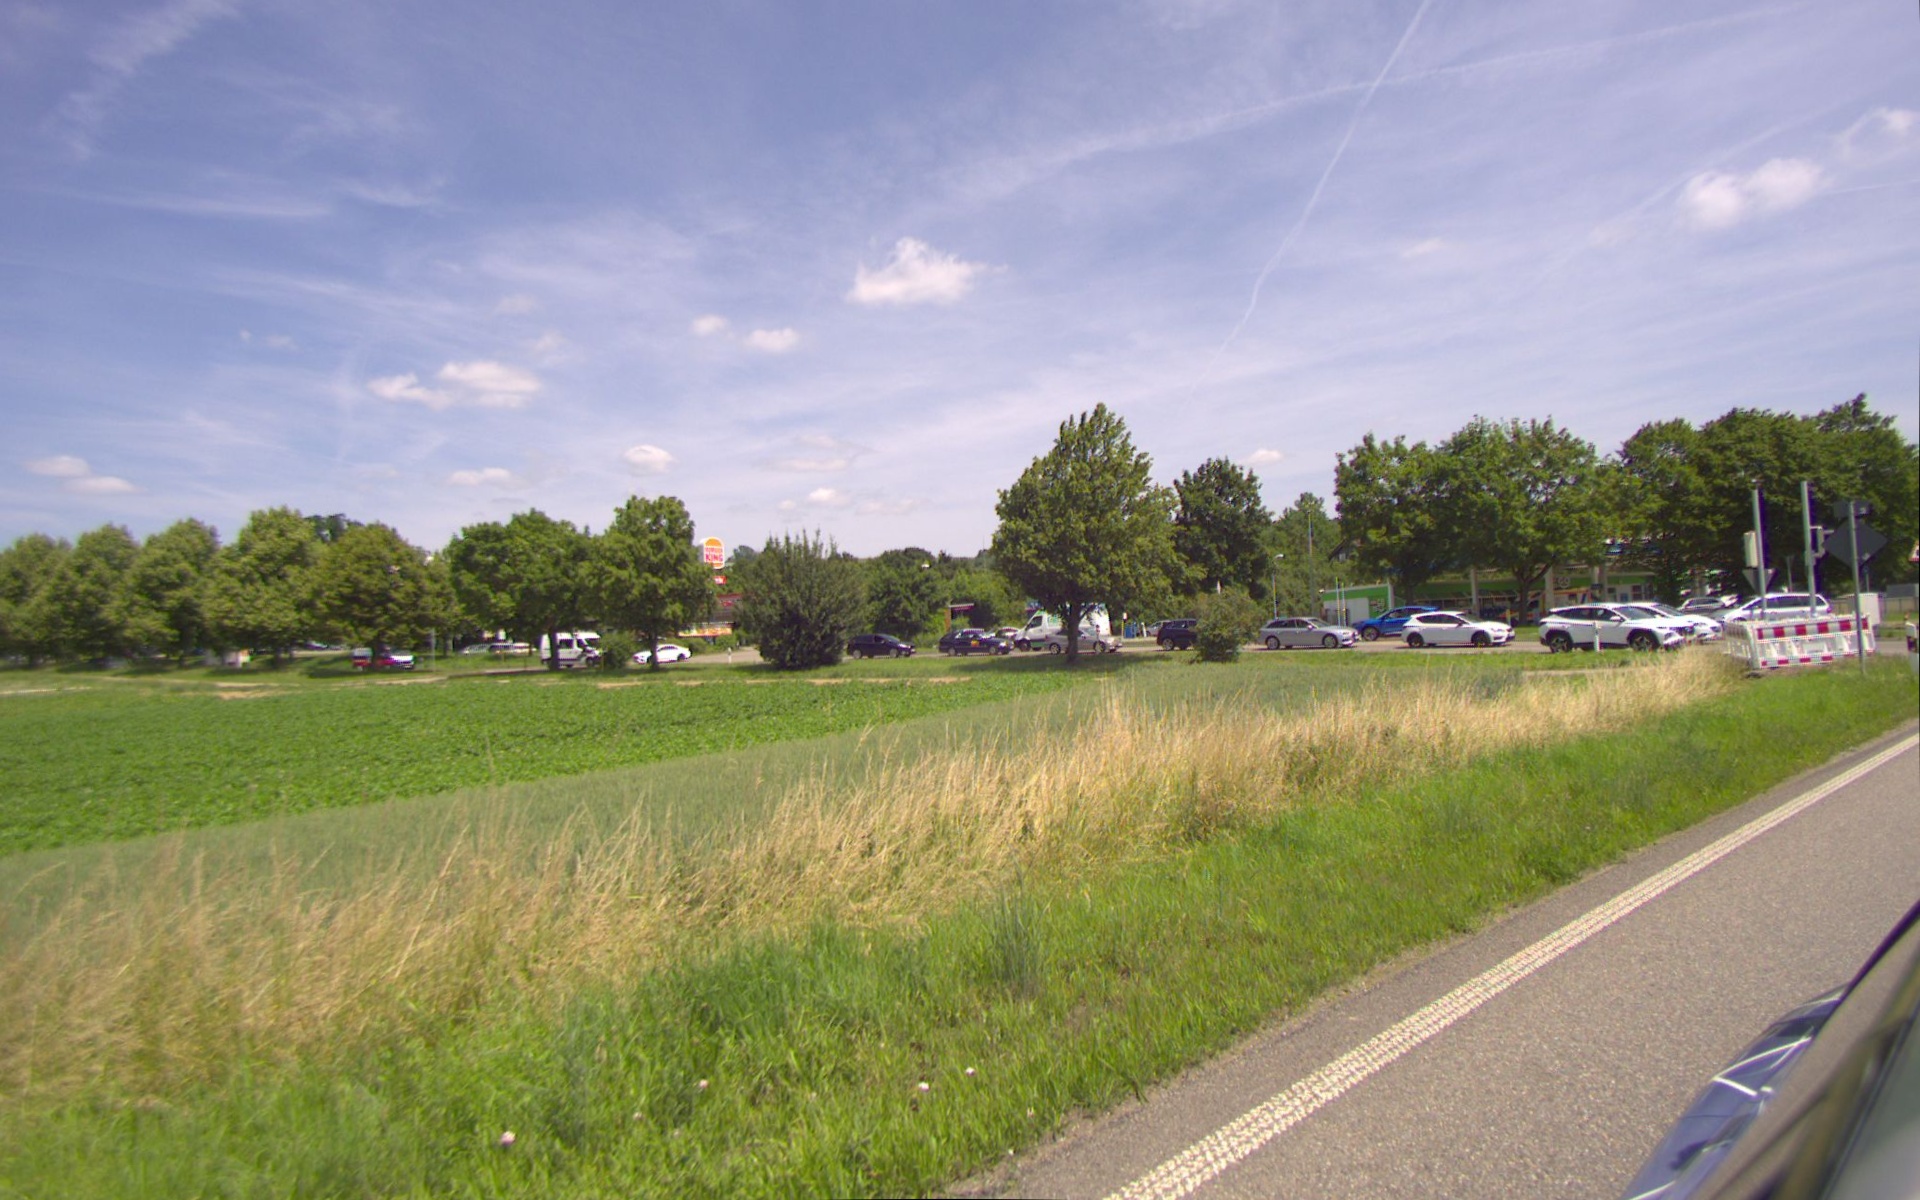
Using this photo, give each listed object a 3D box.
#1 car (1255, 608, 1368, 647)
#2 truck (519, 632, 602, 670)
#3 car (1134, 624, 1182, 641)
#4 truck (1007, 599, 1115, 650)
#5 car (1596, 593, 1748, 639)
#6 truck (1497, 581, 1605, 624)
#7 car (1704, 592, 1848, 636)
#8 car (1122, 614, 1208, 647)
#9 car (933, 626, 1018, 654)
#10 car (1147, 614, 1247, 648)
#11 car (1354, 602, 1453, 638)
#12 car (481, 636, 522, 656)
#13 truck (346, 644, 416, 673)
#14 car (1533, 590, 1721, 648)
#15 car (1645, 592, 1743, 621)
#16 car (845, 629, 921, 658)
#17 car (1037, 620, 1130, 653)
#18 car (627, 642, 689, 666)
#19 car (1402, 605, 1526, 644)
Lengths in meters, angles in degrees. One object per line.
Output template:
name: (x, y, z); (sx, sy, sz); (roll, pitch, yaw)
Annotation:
car: (16.011, 1.265, 46.280); (1.772, 1.529, 4.548); (-2, -2, -44)
truck: (-28.271, 3.587, 71.588); (5.570, 2.396, 2.039); (-3, -1, 22)
car: (17.798, 2.902, 90.909); (3.813, 1.398, 1.707); (-3, -2, 34)
truck: (5.881, 1.461, 59.054); (5.887, 2.771, 2.053); (-2, 0, 29)
car: (25.035, 0.593, 35.747); (1.791, 1.437, 3.978); (-3, 0, -25)
truck: (40.793, 0.168, 69.948); (6.031, 2.652, 2.263); (-2, -1, -1)
car: (35.944, 0.602, 44.730); (4.464, 1.713, 1.857); (-3, 0, 17)
car: (11.796, 1.754, 58.337); (4.483, 1.713, 1.849); (-3, 0, 28)
car: (0.895, 2.291, 57.878); (4.518, 1.289, 1.784); (-4, -1, 28)
car: (11.671, 1.537, 50.044); (1.771, 1.529, 4.550); (-2, 0, -44)
car: (21.889, 1.019, 49.956); (4.344, 1.579, 1.767); (-3, -2, 27)
car: (-47.729, 4.808, 105.315); (3.964, 1.847, 1.804); (-3, -1, 30)
truck: (-45.633, 4.618, 79.744); (5.411, 2.001, 1.787); (-3, -1, 23)
car: (21.633, 0.663, 33.041); (1.959, 1.627, 4.645); (-5, 0, -27)
car: (47.831, 0.393, 66.010); (4.846, 1.623, 2.039); (-3, 0, 0)
car: (-4.664, 2.616, 60.875); (4.187, 1.529, 1.786); (-4, -1, 25)
car: (6.557, 1.934, 53.918); (4.528, 1.529, 1.780); (-4, -1, 34)
car: (-24.340, 4.356, 81.665); (4.423, 1.579, 1.874); (-3, -1, -41)
car: (20.384, 1.015, 41.046); (1.770, 1.437, 4.099); (-3, 0, -40)
